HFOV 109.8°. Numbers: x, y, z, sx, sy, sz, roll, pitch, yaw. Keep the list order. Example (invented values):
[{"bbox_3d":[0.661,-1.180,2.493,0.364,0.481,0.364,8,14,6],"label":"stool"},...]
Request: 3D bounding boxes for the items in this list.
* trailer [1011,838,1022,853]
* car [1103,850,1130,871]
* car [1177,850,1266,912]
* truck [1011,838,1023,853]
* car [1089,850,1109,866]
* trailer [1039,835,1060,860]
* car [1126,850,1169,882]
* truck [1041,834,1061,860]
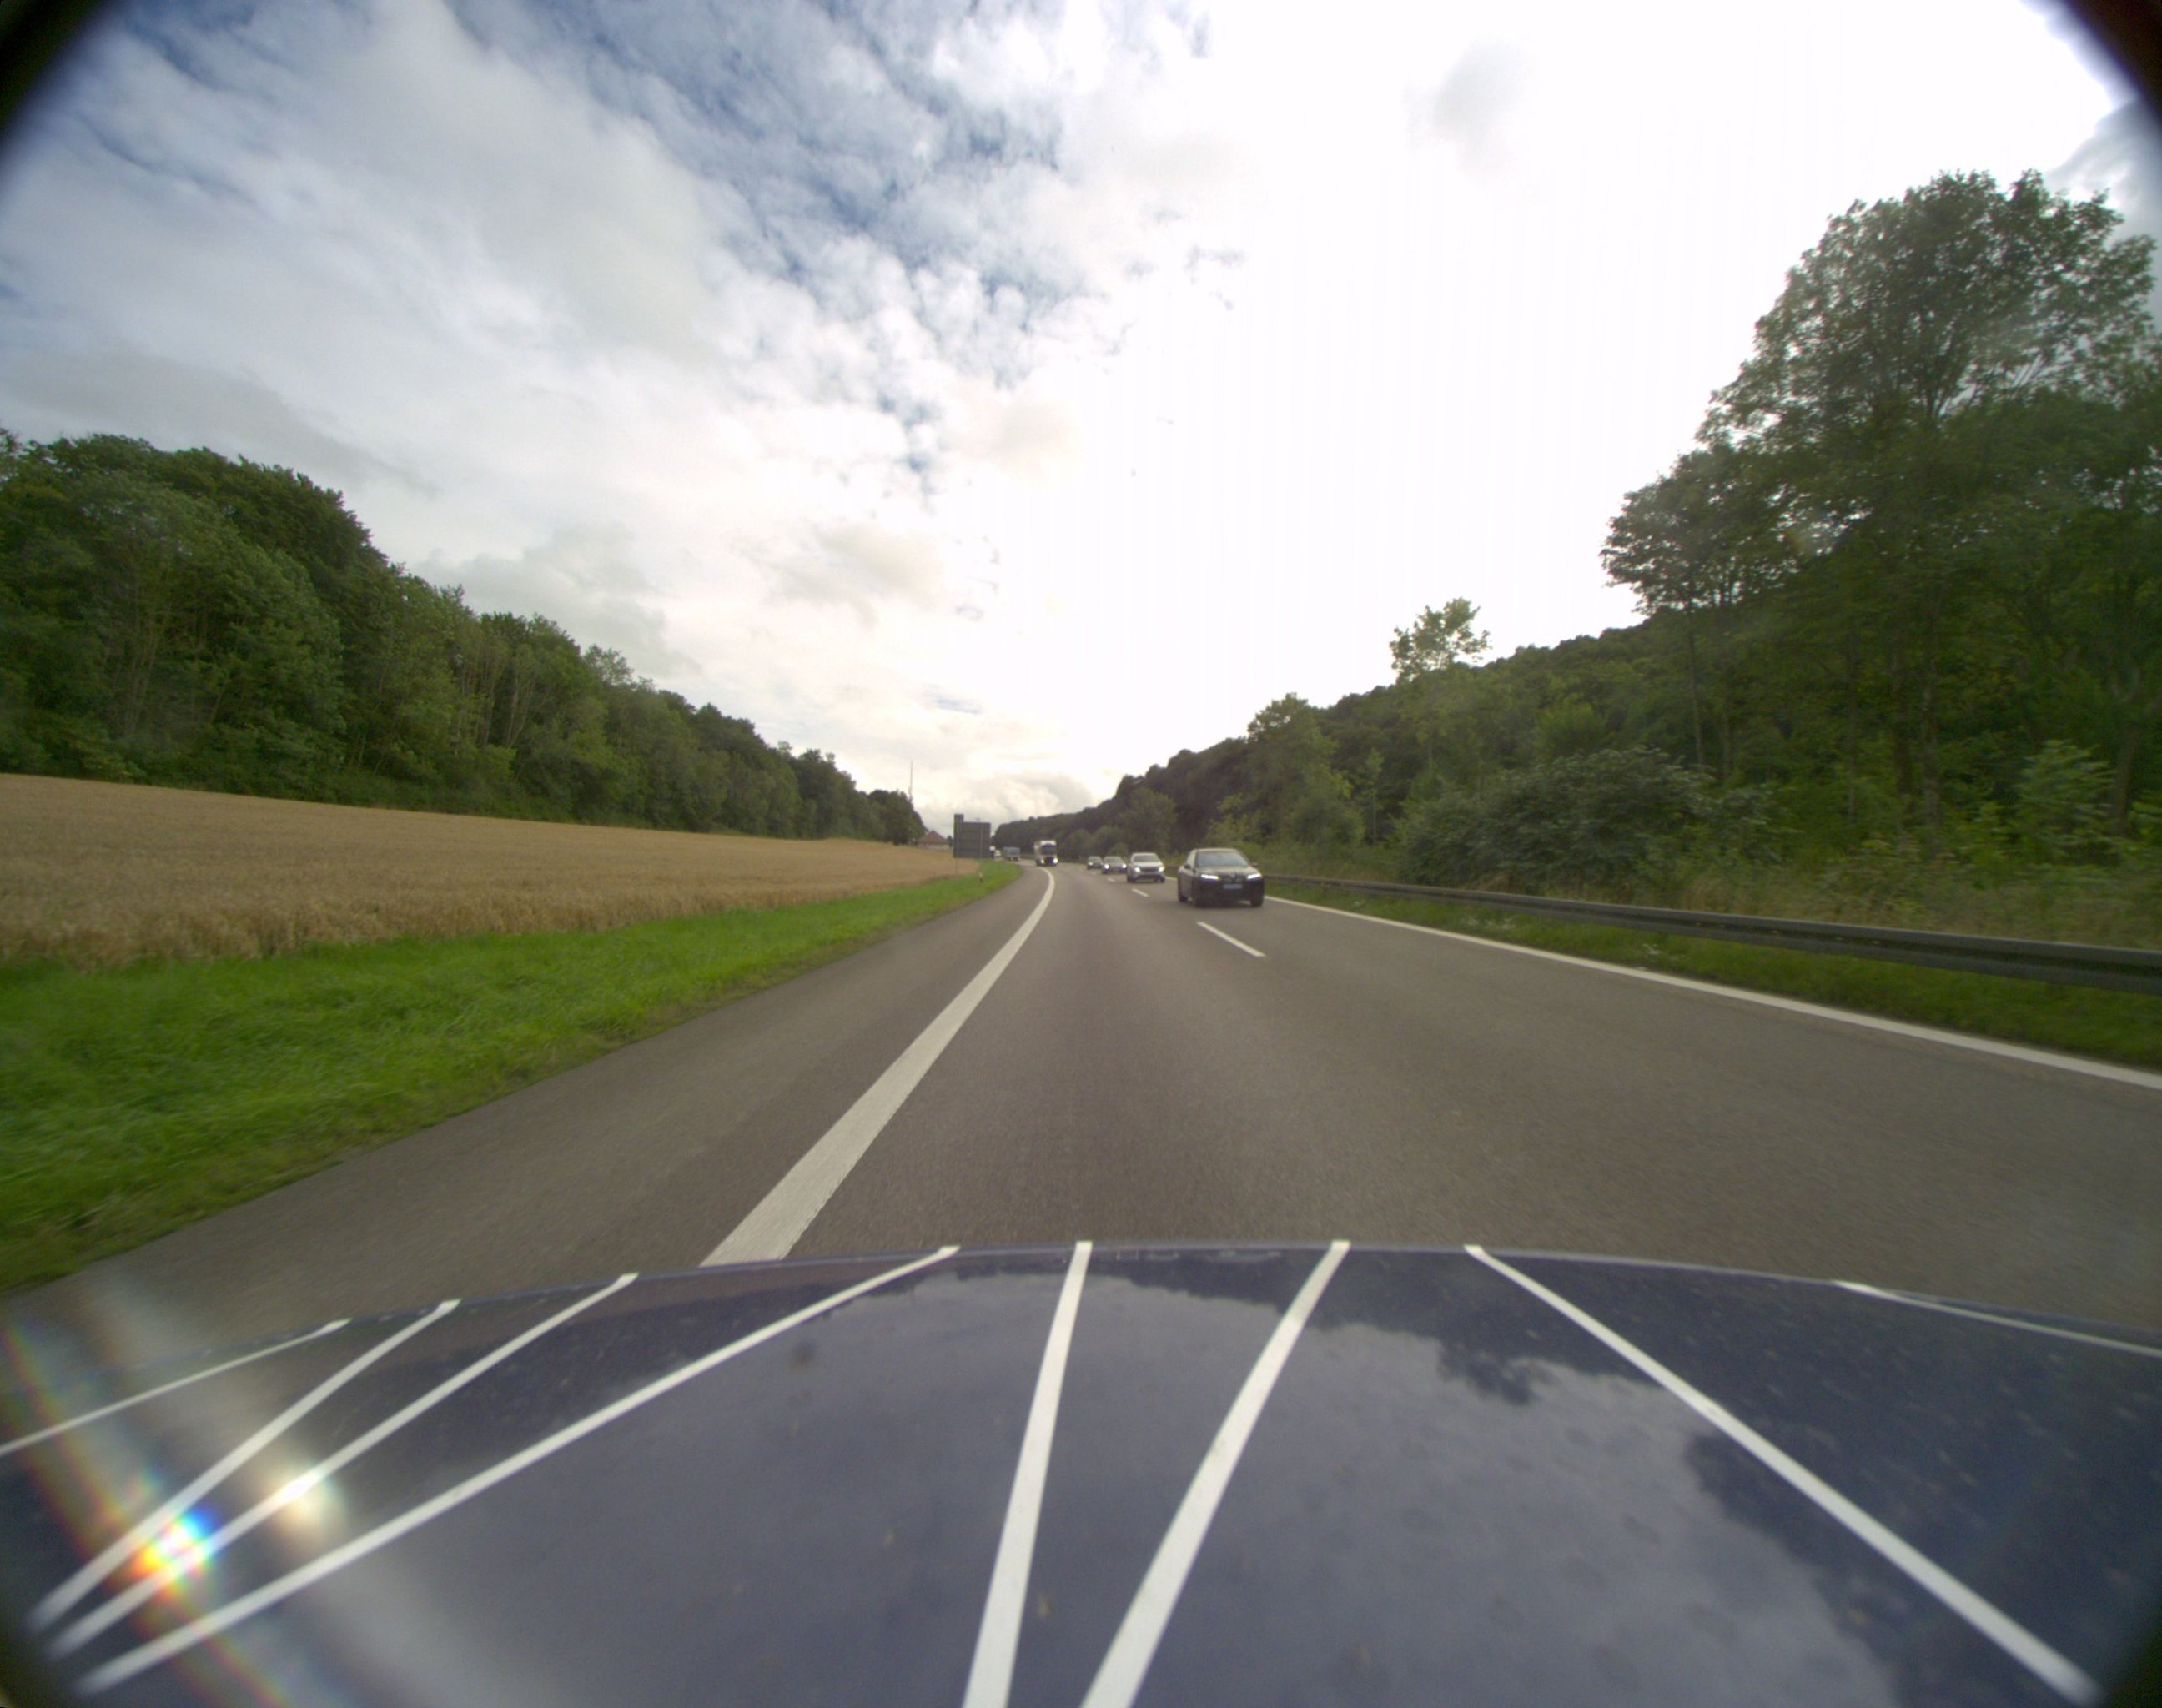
[{"bbox_3d":[-17.519,-2.241,205.463,2.788,3.932,11.288,-1,1,-6],"label":"trailer"},{"bbox_3d":[3.031,0.525,65.093,1.999,1.656,4.414,-1,1,-1],"label":"car"},{"bbox_3d":[4.131,0.729,23.033,1.998,1.656,4.415,-1,1,2],"label":"car"},{"bbox_3d":[-16.863,-2.205,199.387,2.797,3.949,5.936,-1,1,-6],"label":"truck"},{"bbox_3d":[2.059,0.422,86.622,1.999,1.656,4.413,-1,1,-2],"label":"car"},{"bbox_3d":[-5.312,-1.103,125.089,2.788,3.932,11.289,-1,1,-5],"label":"trailer"},{"bbox_3d":[3.744,0.645,43.640,1.999,1.656,4.414,-1,1,-1],"label":"car"},{"bbox_3d":[-4.852,-1.053,120.181,2.796,3.949,5.936,-1,1,-5],"label":"truck"}]
